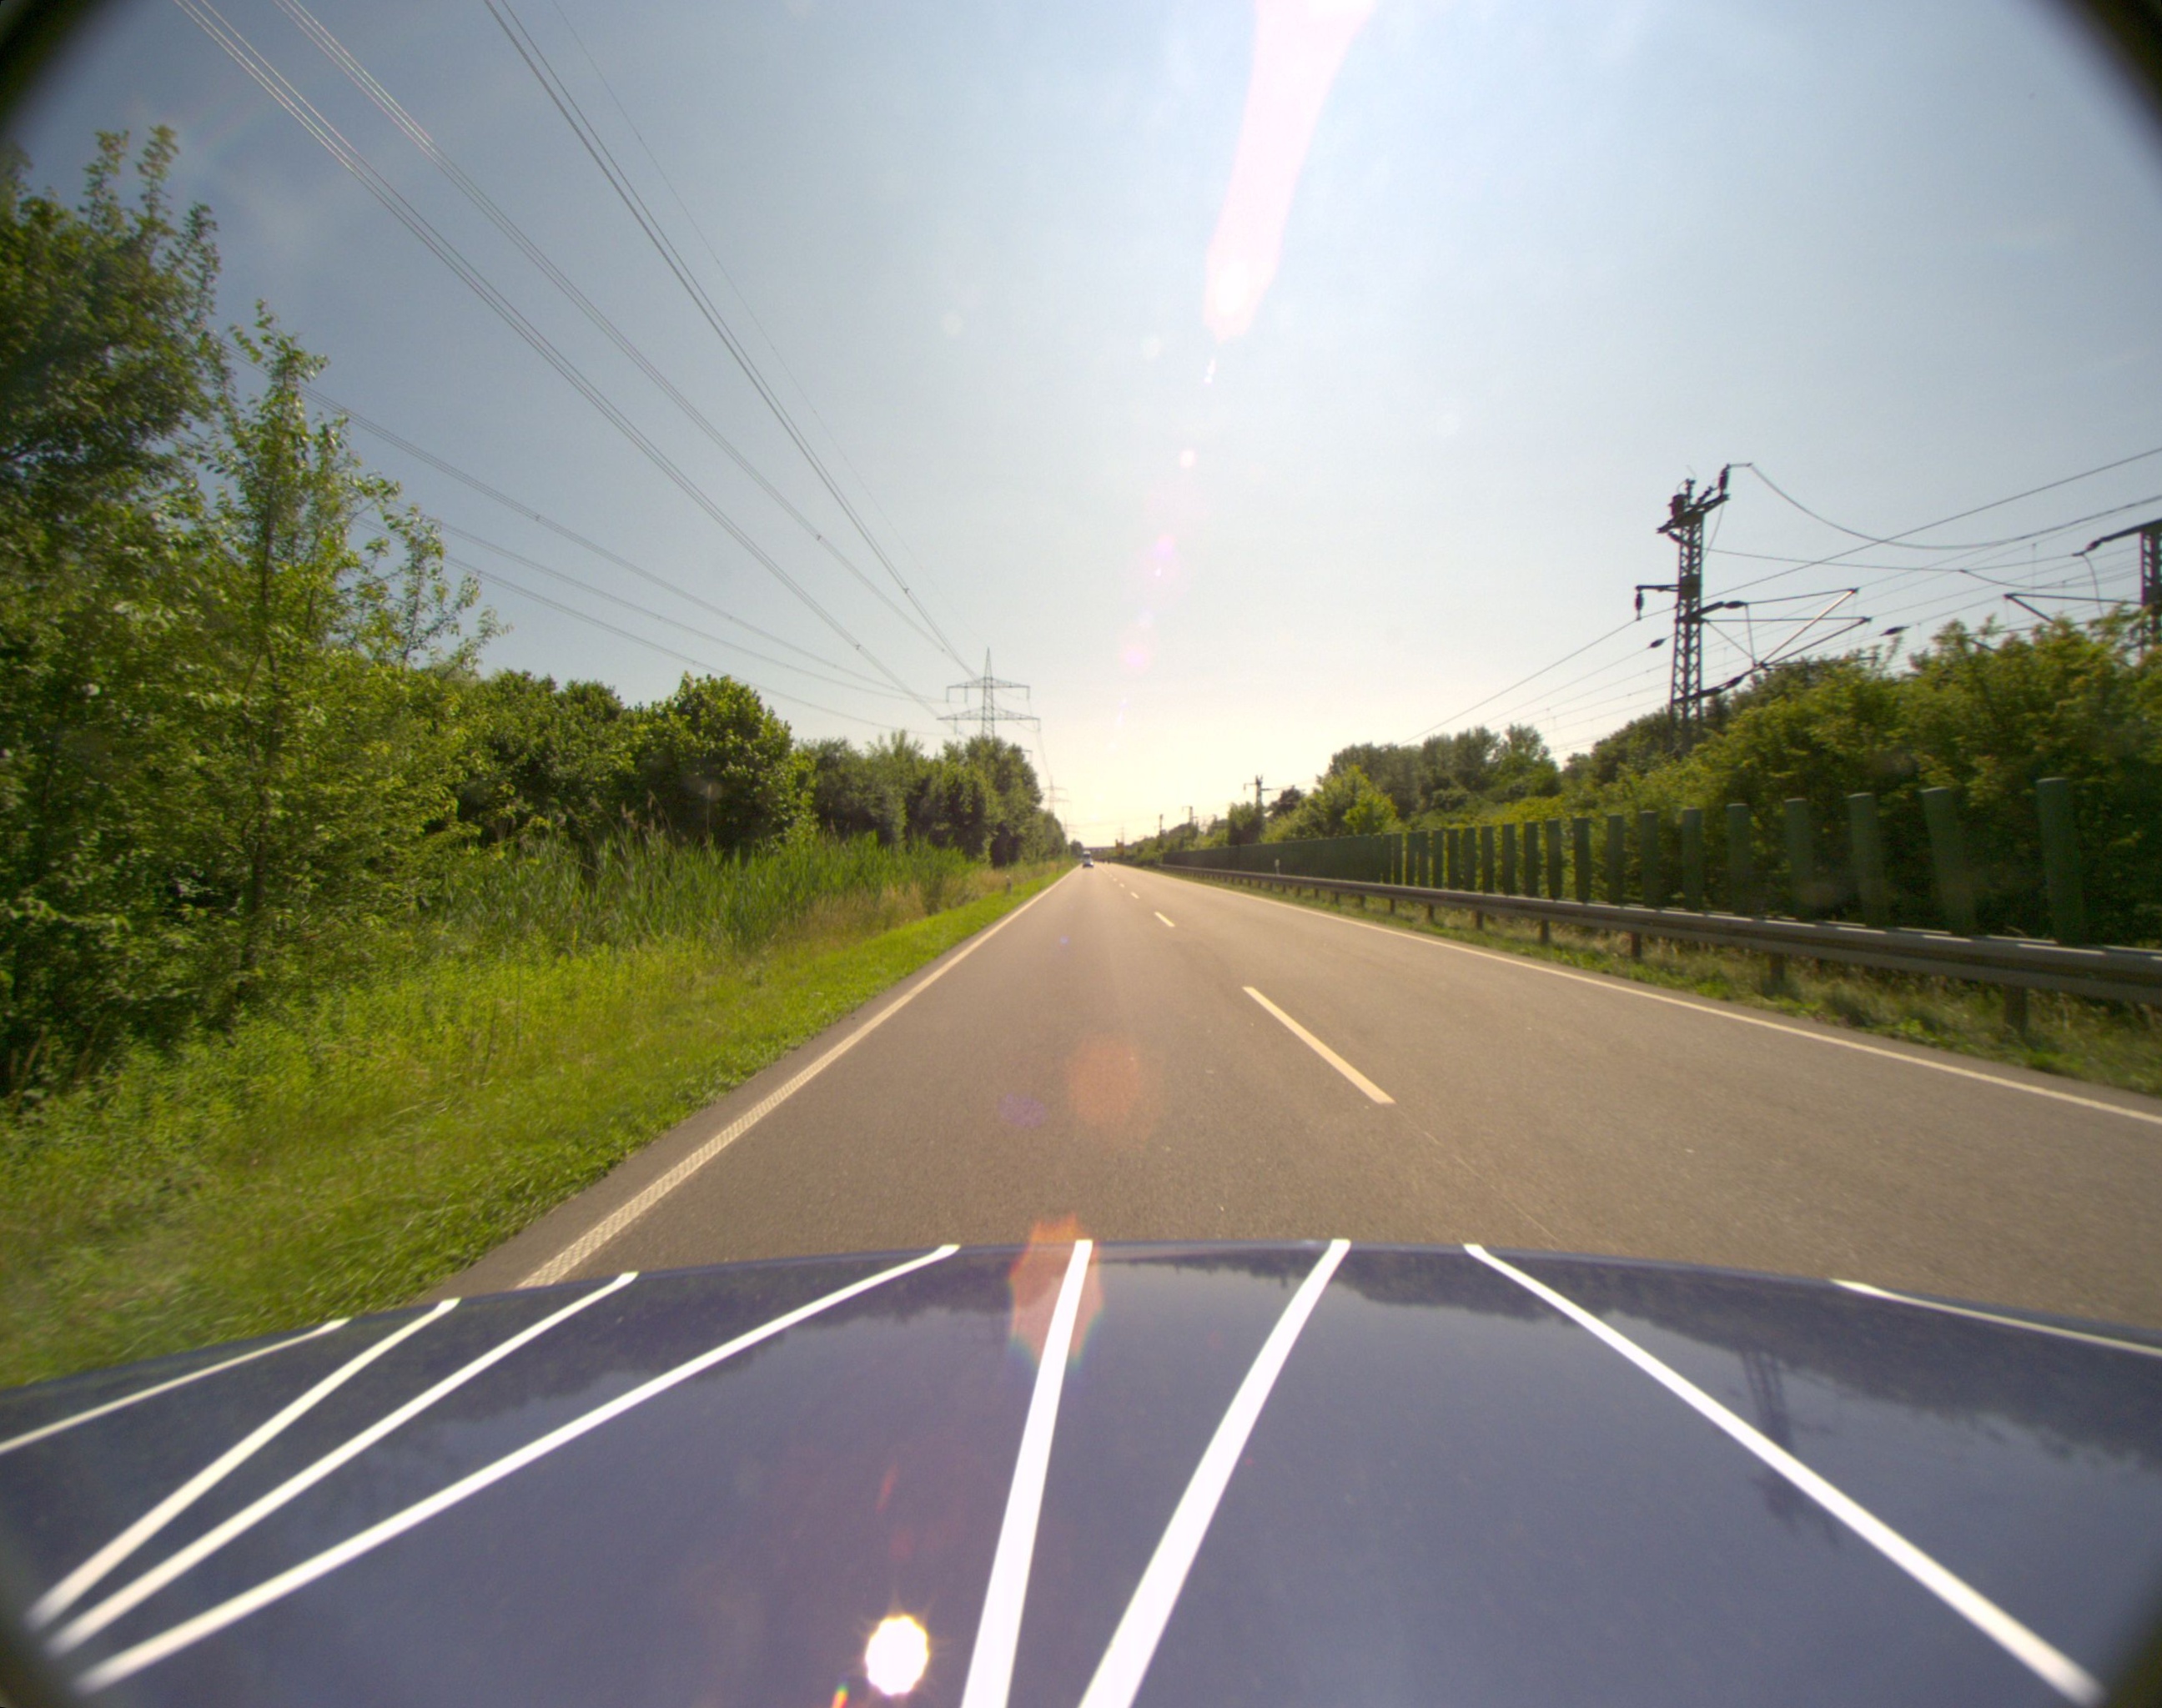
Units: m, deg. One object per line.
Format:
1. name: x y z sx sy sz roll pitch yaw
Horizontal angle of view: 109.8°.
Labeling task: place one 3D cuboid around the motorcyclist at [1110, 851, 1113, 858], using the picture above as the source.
1. motorcyclist: 7.150 0.074 179.072 0.751 1.574 0.864 -3 1 2

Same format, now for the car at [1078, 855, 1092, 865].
1. car: 0.612 0.911 116.789 1.998 1.346 4.157 -3 0 0

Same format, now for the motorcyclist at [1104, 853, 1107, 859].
1. motorcyclist: 6.524 0.514 202.309 0.961 1.600 1.003 -3 1 2

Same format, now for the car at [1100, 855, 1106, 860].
1. car: 7.715 1.111 263.914 1.819 1.684 4.706 -1 0 1

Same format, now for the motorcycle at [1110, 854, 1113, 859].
1. motorcycle: 7.173 0.569 179.942 0.756 1.008 2.721 -3 0 2

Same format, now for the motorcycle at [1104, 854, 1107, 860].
1. motorcycle: 6.519 0.806 201.978 0.970 1.487 2.630 -3 0 2

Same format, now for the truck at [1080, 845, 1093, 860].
1. truck: 1.702 -0.522 261.913 4.219 4.608 21.303 -2 0 0
